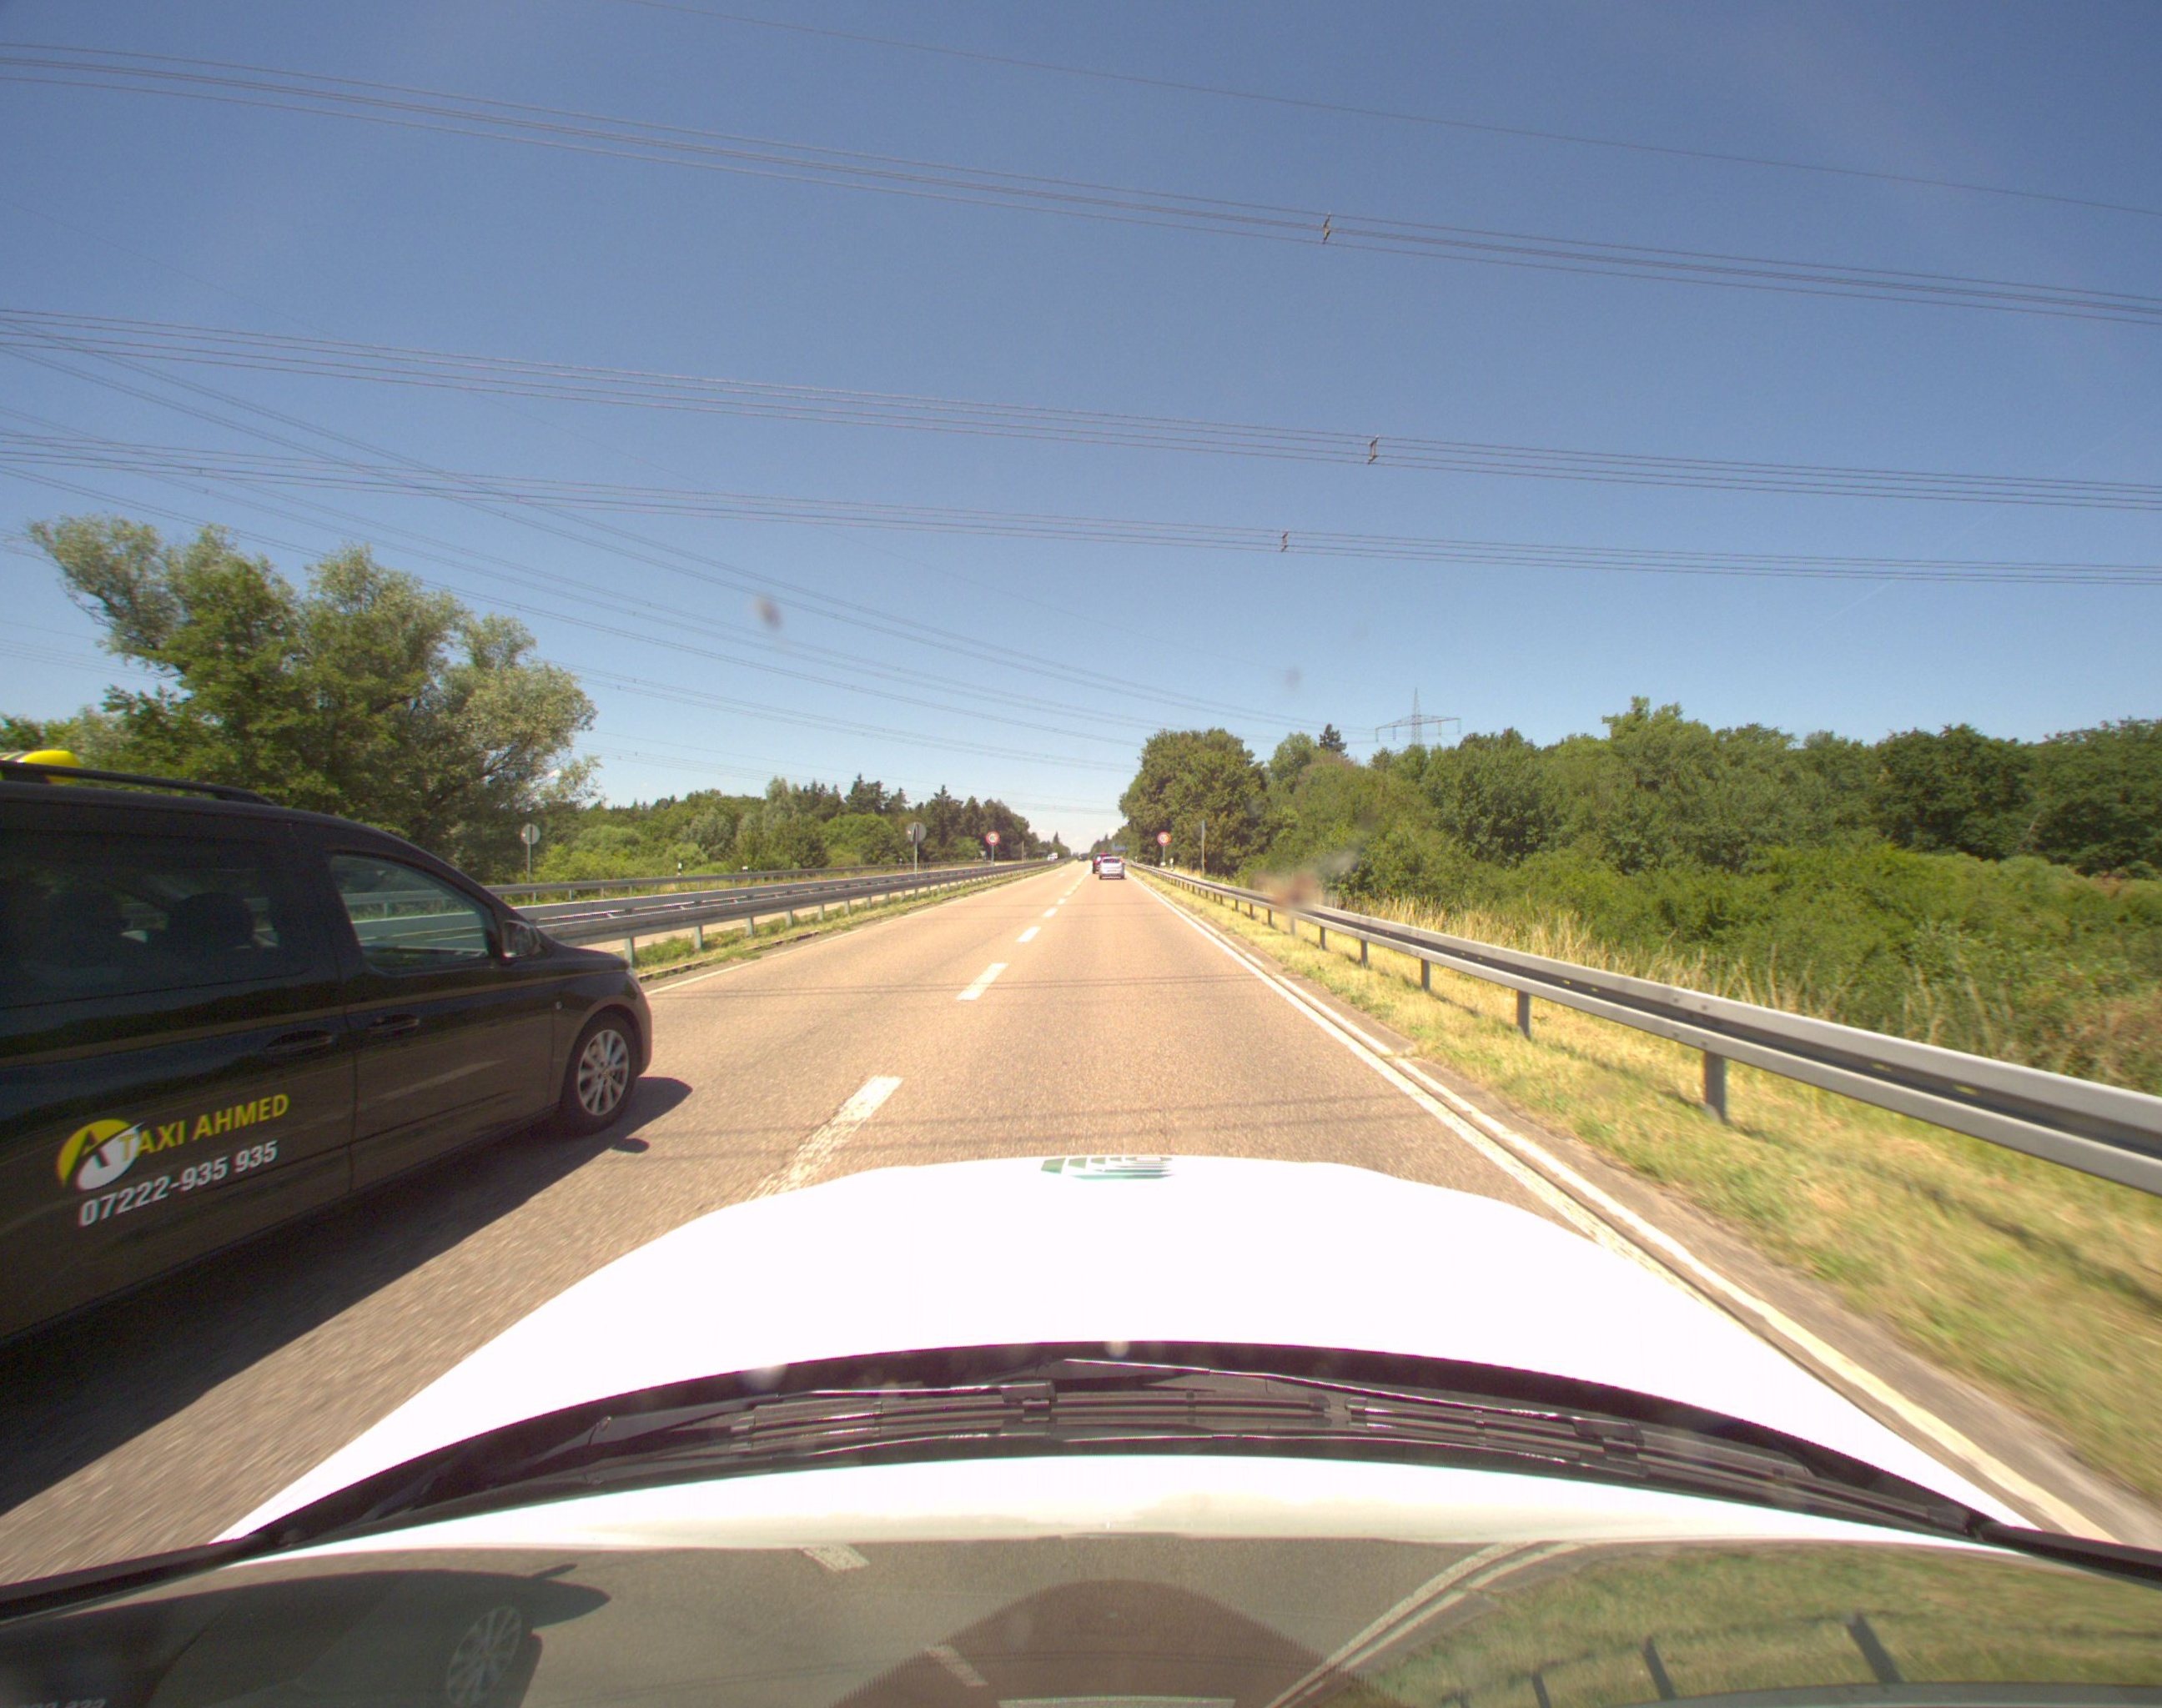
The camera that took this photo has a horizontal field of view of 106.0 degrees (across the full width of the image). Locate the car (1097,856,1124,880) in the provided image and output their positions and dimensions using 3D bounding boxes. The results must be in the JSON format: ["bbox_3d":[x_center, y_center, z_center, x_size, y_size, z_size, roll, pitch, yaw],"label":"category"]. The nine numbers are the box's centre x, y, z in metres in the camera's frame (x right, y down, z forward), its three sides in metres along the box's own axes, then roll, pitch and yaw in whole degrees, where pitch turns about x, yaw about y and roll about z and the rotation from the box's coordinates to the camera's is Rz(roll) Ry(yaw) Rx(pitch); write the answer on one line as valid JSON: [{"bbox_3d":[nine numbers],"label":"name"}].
[{"bbox_3d":[1.907,0.895,53.678,1.635,1.468,3.419,1,0,0],"label":"car"}]

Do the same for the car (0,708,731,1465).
[{"bbox_3d":[-3.608,0.602,3.309,1.848,1.887,5.574,-1,0,1],"label":"car"}]

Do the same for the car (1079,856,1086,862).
[{"bbox_3d":[0.320,1.225,205.275,1.706,1.471,3.574,1,0,1],"label":"car"}]

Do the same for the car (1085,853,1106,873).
[{"bbox_3d":[1.245,0.748,69.920,1.635,1.654,3.572,1,0,-1],"label":"car"}]

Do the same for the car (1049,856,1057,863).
[{"bbox_3d":[-8.647,1.750,255.068,1.883,1.992,5.537,-1,0,3],"label":"car"}]
